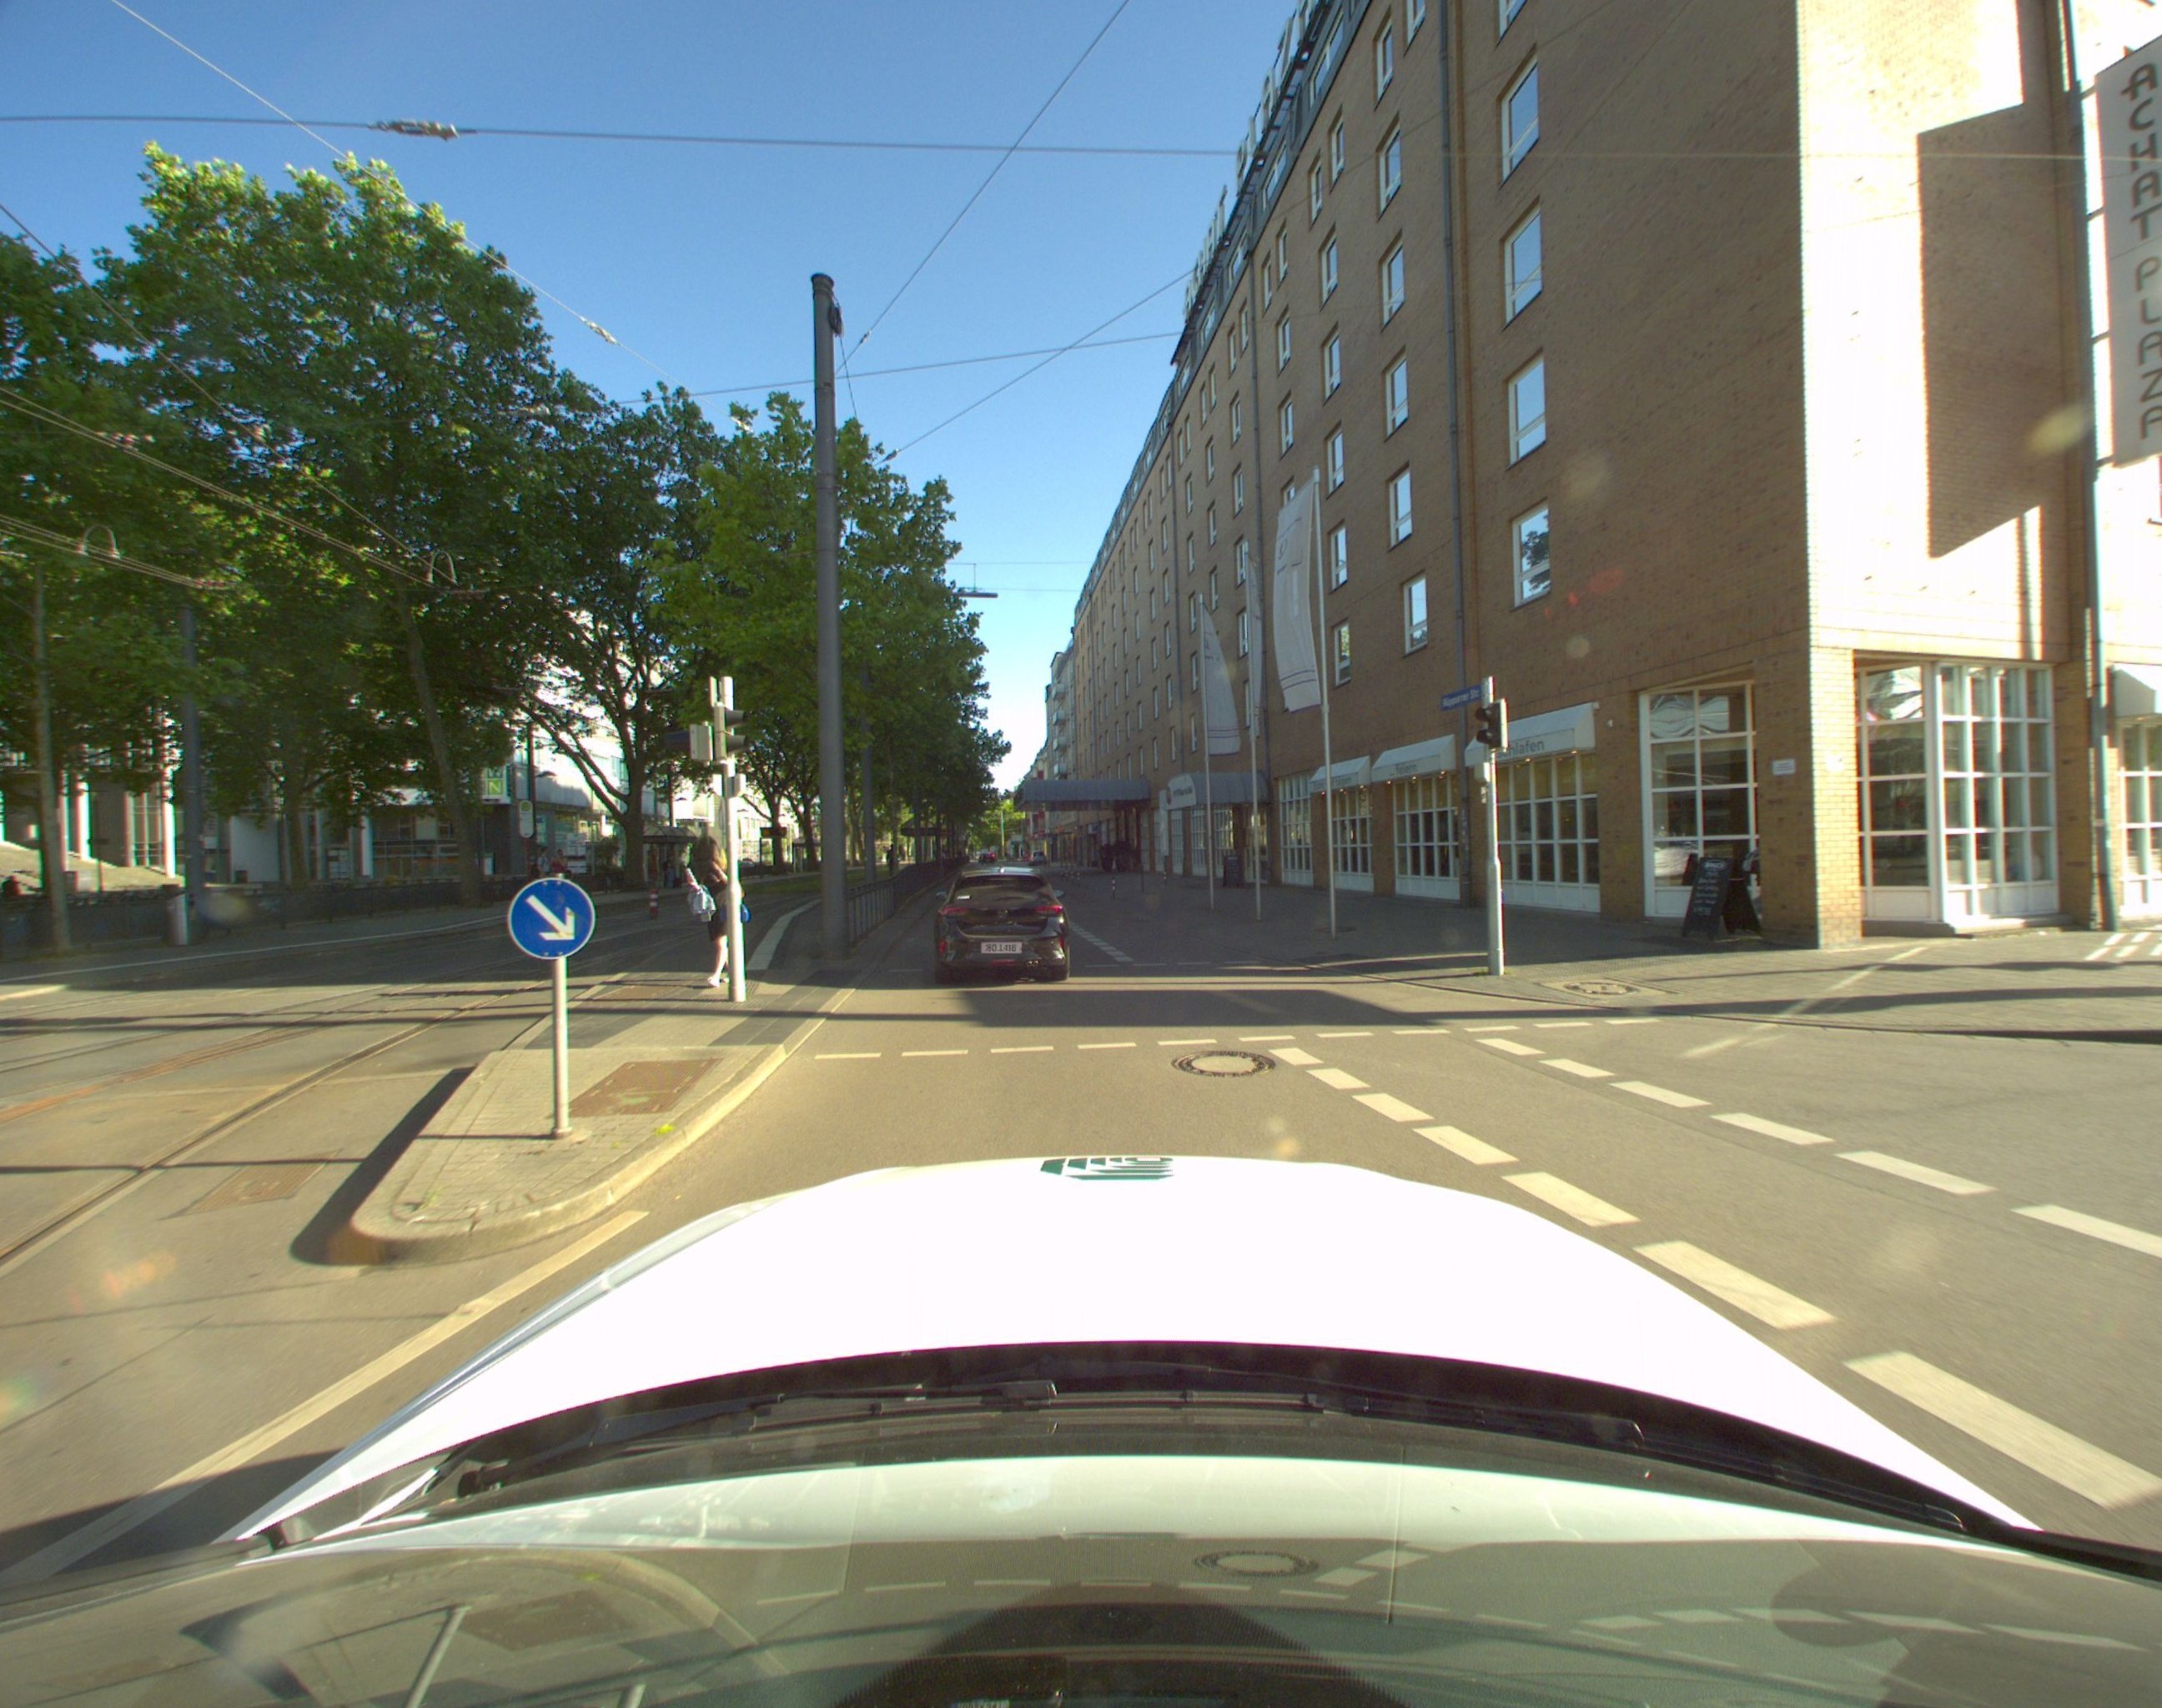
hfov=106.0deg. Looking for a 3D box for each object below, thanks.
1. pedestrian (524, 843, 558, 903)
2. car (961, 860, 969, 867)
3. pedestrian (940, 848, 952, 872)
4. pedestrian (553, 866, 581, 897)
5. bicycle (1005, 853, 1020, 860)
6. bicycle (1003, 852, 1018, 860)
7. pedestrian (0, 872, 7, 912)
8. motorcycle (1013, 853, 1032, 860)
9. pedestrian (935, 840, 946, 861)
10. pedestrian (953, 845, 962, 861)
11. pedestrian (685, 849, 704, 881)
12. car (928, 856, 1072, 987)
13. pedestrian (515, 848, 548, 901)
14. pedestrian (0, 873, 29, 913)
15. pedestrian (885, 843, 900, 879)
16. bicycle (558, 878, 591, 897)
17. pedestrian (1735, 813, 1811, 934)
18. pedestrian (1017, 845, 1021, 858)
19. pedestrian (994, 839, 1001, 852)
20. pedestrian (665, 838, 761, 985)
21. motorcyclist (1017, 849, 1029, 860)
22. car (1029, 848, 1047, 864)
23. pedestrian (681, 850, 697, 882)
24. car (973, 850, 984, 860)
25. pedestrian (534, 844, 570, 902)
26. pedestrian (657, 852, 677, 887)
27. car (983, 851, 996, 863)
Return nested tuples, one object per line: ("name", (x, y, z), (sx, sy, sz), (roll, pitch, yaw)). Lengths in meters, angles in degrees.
("pedestrian", (-16.787, 0.570, 25.317), (0.634, 1.828, 0.742), (0, 0, -12))
("car", (-24.692, 2.070, 173.603), (1.612, 1.501, 3.681), (-1, 0, -8))
("pedestrian", (-8.040, 0.352, 48.437), (0.722, 1.444, 0.624), (0, 0, -11))
("pedestrian", (-20.035, 1.075, 31.751), (0.587, 1.164, 0.746), (0, 0, 8))
("bicycle", (-11.162, 0.407, 132.583), (2.352, 1.233, 0.682), (-1, 0, -6))
("bicycle", (-11.261, 0.360, 130.806), (2.352, 1.233, 0.682), (-1, 0, -6))
("pedestrian", (-45.447, 1.600, 33.844), (0.696, 1.652, 0.704), (0, 0, -7))
("motorcycle", (-8.553, 0.369, 119.571), (1.315, 1.058, 3.063), (-1, 0, -37))
("pedestrian", (-9.508, -0.223, 55.069), (0.603, 1.365, 0.485), (-2, 0, -7))
("pedestrian", (-11.159, -0.082, 73.502), (0.722, 1.444, 0.624), (0, 0, -11))
("pedestrian", (-19.426, 0.566, 40.952), (0.561, 1.573, 0.640), (0, 1, 5))
("car", (-1.171, 0.792, 11.469), (1.670, 1.502, 3.681), (-1, 0, -7))
("pedestrian", (-18.977, 0.691, 28.135), (0.587, 1.800, 0.746), (0, 0, 8))
("pedestrian", (-44.704, 1.623, 33.962), (0.696, 1.652, 0.704), (0, 0, -7))
("pedestrian", (-9.015, 0.333, 38.989), (0.603, 1.680, 0.485), (-2, 0, -7))
("bicycle", (-19.812, 1.308, 31.897), (0.392, 0.689, 1.691), (-1, 0, -7))
("pedestrian", (9.984, 0.268, 11.774), (0.743, 1.666, 0.746), (-1, 0, 35))
("pedestrian", (-13.490, -0.489, 177.229), (0.916, 2.871, 1.147), (0, 0, -8))
("pedestrian", (-18.928, -1.875, 184.066), (1.156, 2.871, 0.909), (-1, 0, -40))
("pedestrian", (-4.457, 0.671, 9.918), (0.711, 1.680, 0.831), (-2, 0, 1))
("motorcyclist", (-8.486, 0.060, 119.492), (1.315, 1.698, 1.223), (-1, 0, -37))
("car", (-4.540, 0.227, 85.938), (1.670, 1.652, 3.683), (0, 0, -6))
("pedestrian", (-19.418, 0.580, 40.344), (0.500, 1.573, 0.493), (0, 1, -4))
("car", (-15.590, 0.164, 123.873), (1.612, 1.501, 3.681), (-1, 0, -8))
("pedestrian", (-16.850, 0.585, 25.933), (0.585, 1.828, 0.749), (0, 0, 24))
("pedestrian", (-19.358, 0.727, 38.062), (0.479, 1.573, 0.676), (1, 2, 36))
("car", (-11.803, 0.325, 104.756), (1.612, 1.501, 3.681), (-1, 0, -8))
